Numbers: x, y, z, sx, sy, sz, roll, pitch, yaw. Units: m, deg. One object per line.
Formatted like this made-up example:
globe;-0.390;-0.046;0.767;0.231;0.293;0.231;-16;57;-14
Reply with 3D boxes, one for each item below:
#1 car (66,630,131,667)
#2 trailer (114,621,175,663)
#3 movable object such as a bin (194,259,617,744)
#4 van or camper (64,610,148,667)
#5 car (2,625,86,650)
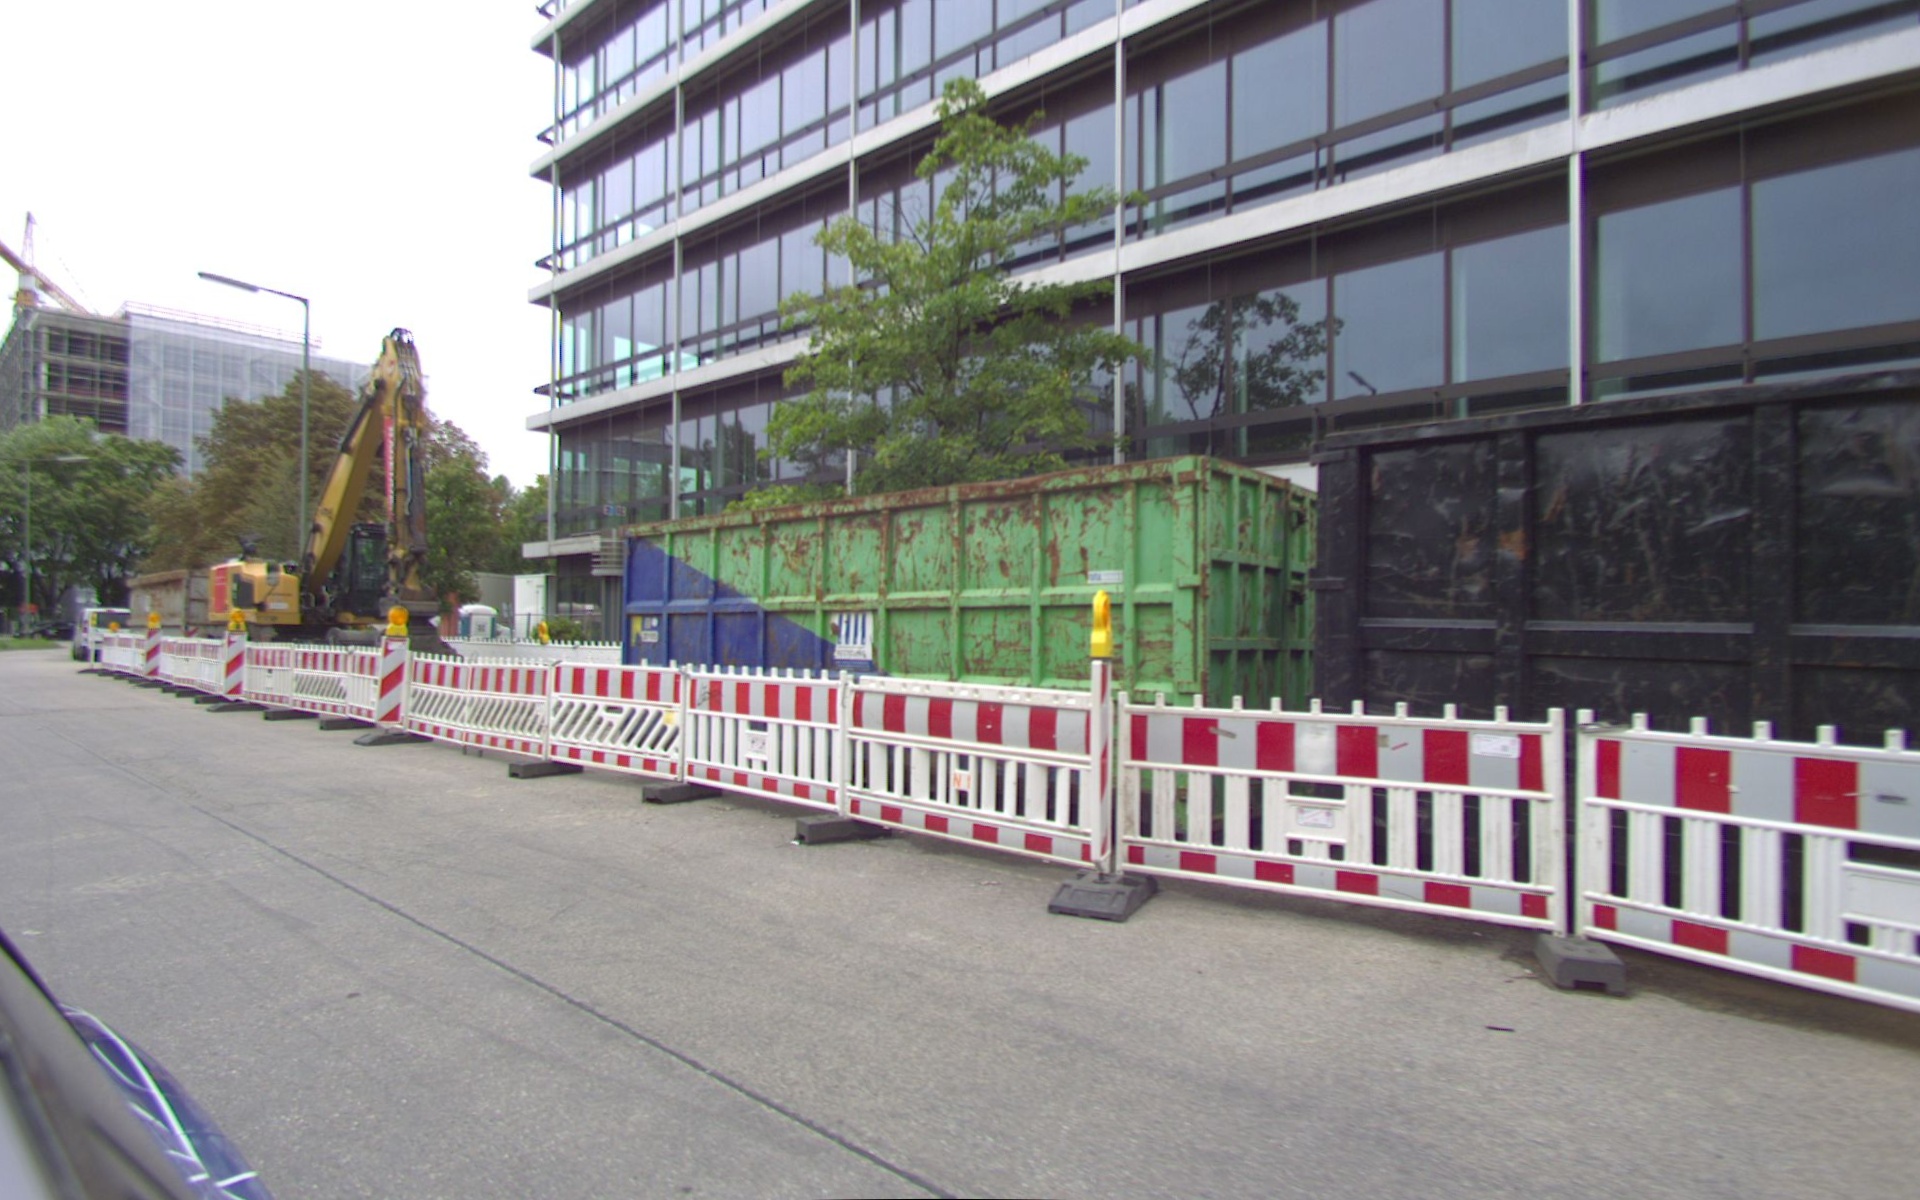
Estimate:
car;-36.948;2.064;43.363;1.969;1.470;4.125;5;-4;-41
trailer;-44.885;2.301;55.762;1.752;2.198;2.785;3;-3;-22
movable object such as a bin;-10.818;-1.259;18.729;11.778;6.614;2.874;-1;-2;41
van or camper;-33.134;1.513;39.184;1.966;2.050;5.590;4;-5;-44
car;-62.402;2.571;69.008;1.776;1.584;3.862;1;-2;19
